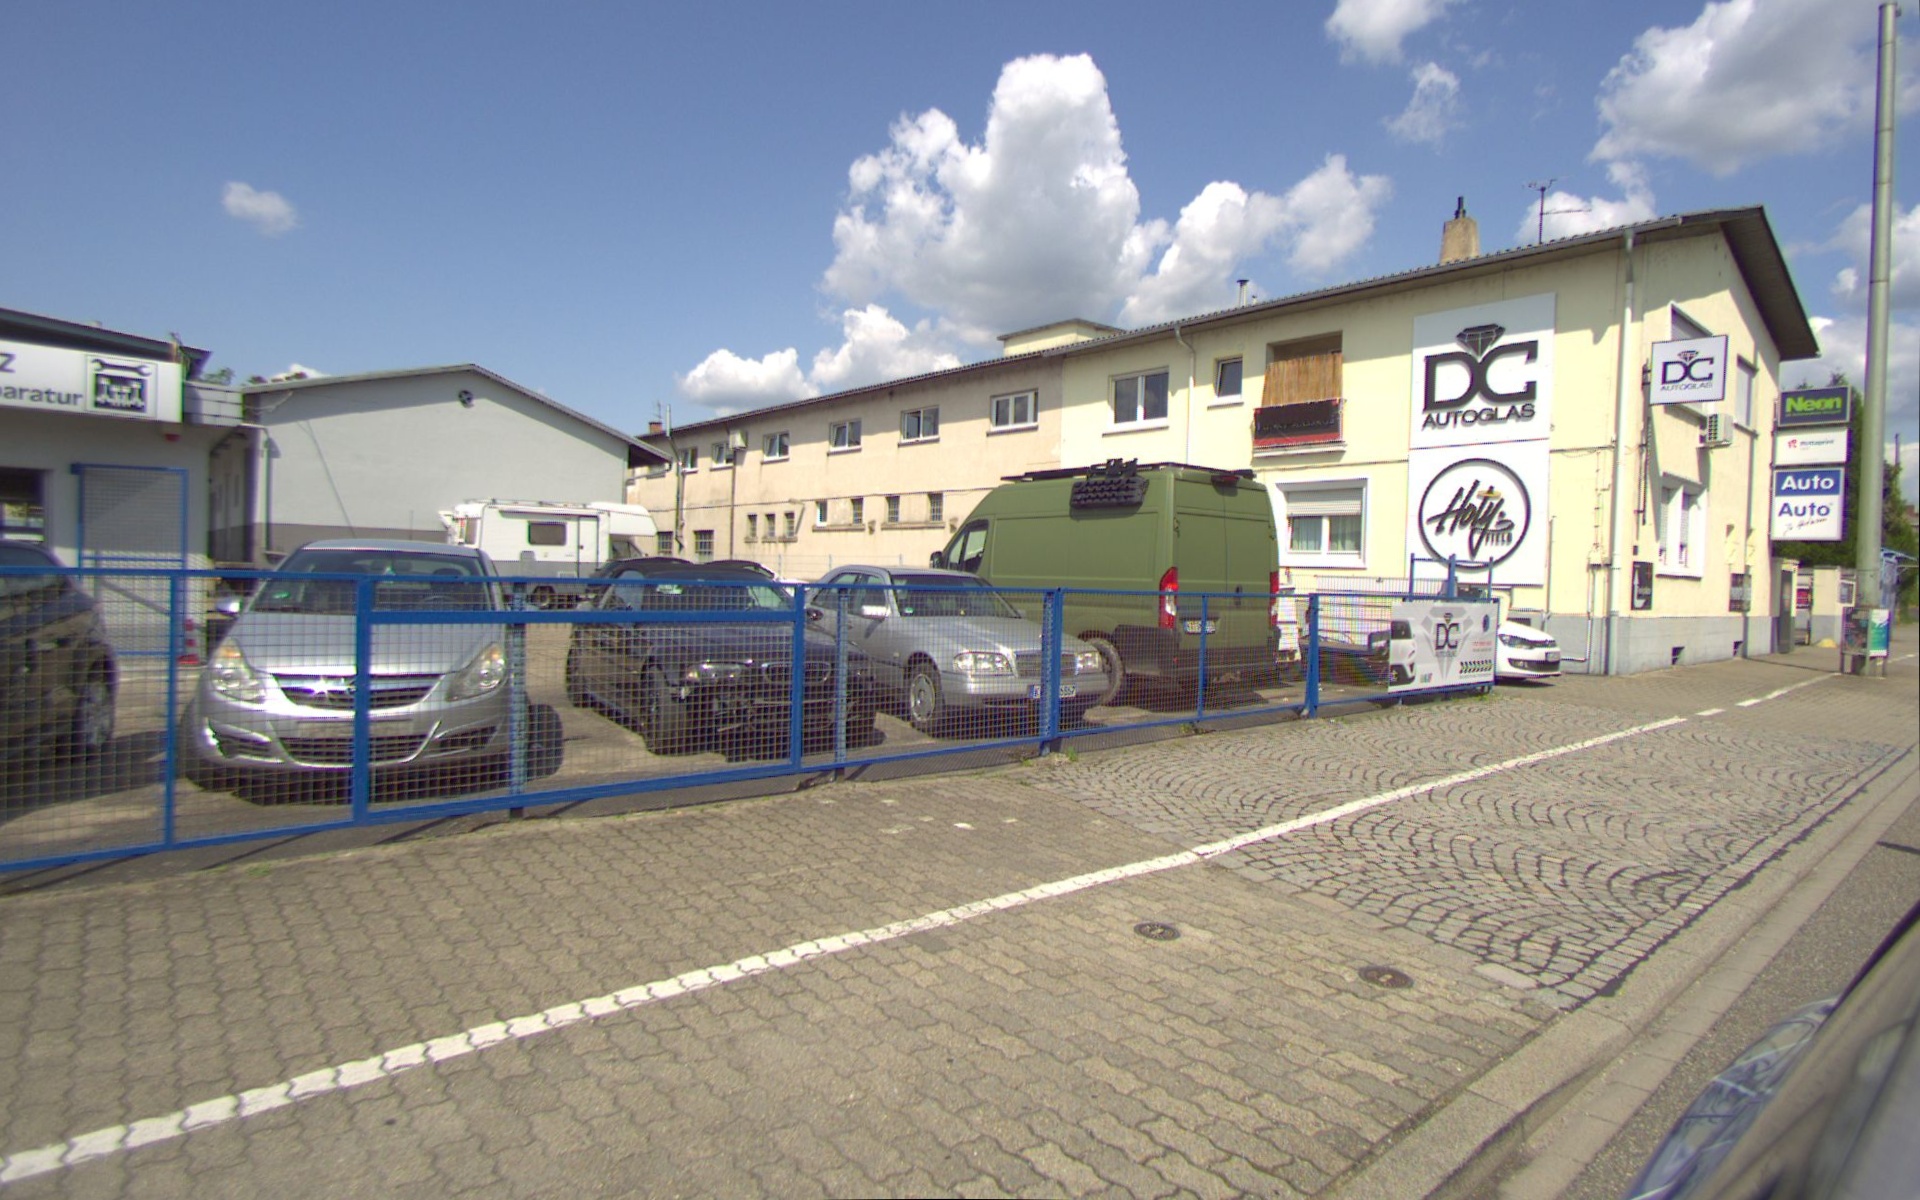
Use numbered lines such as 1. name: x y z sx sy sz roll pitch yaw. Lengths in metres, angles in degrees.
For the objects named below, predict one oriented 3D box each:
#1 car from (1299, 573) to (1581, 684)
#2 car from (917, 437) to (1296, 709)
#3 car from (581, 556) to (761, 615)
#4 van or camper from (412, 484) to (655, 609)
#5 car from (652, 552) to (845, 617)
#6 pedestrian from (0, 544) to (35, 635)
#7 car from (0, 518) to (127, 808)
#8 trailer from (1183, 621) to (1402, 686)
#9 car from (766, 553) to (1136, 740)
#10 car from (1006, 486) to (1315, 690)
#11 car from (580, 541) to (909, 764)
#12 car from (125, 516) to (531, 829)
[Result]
1. car: 7.535 0.365 16.181 1.527 1.481 3.775 1 2 -39
2. car: 1.589 -0.346 12.258 2.075 2.675 4.208 1 2 -39
3. car: -7.306 -0.356 25.813 4.112 1.378 1.645 0 2 -41
4. van or camper: -11.303 -1.322 27.113 5.556 3.002 2.272 0 2 -42
5. car: -4.843 -0.346 23.550 4.112 1.378 1.645 0 2 -41
6. pedestrian: -13.160 -0.154 13.883 0.652 1.224 0.566 1 1 -39
7. car: -5.626 0.308 4.876 1.606 1.470 3.701 1 2 -25
8. trailer: 4.750 0.729 14.653 1.307 0.674 2.730 0 2 -42
9. car: -0.337 0.290 10.205 1.679 1.470 4.292 1 2 -33
10. car: 2.647 -0.221 14.249 1.557 2.436 4.208 1 2 -39
11. car: -2.127 0.277 8.899 1.737 1.470 4.128 1 2 -28
12. car: -3.897 0.284 6.843 1.736 1.470 3.778 1 2 -24
